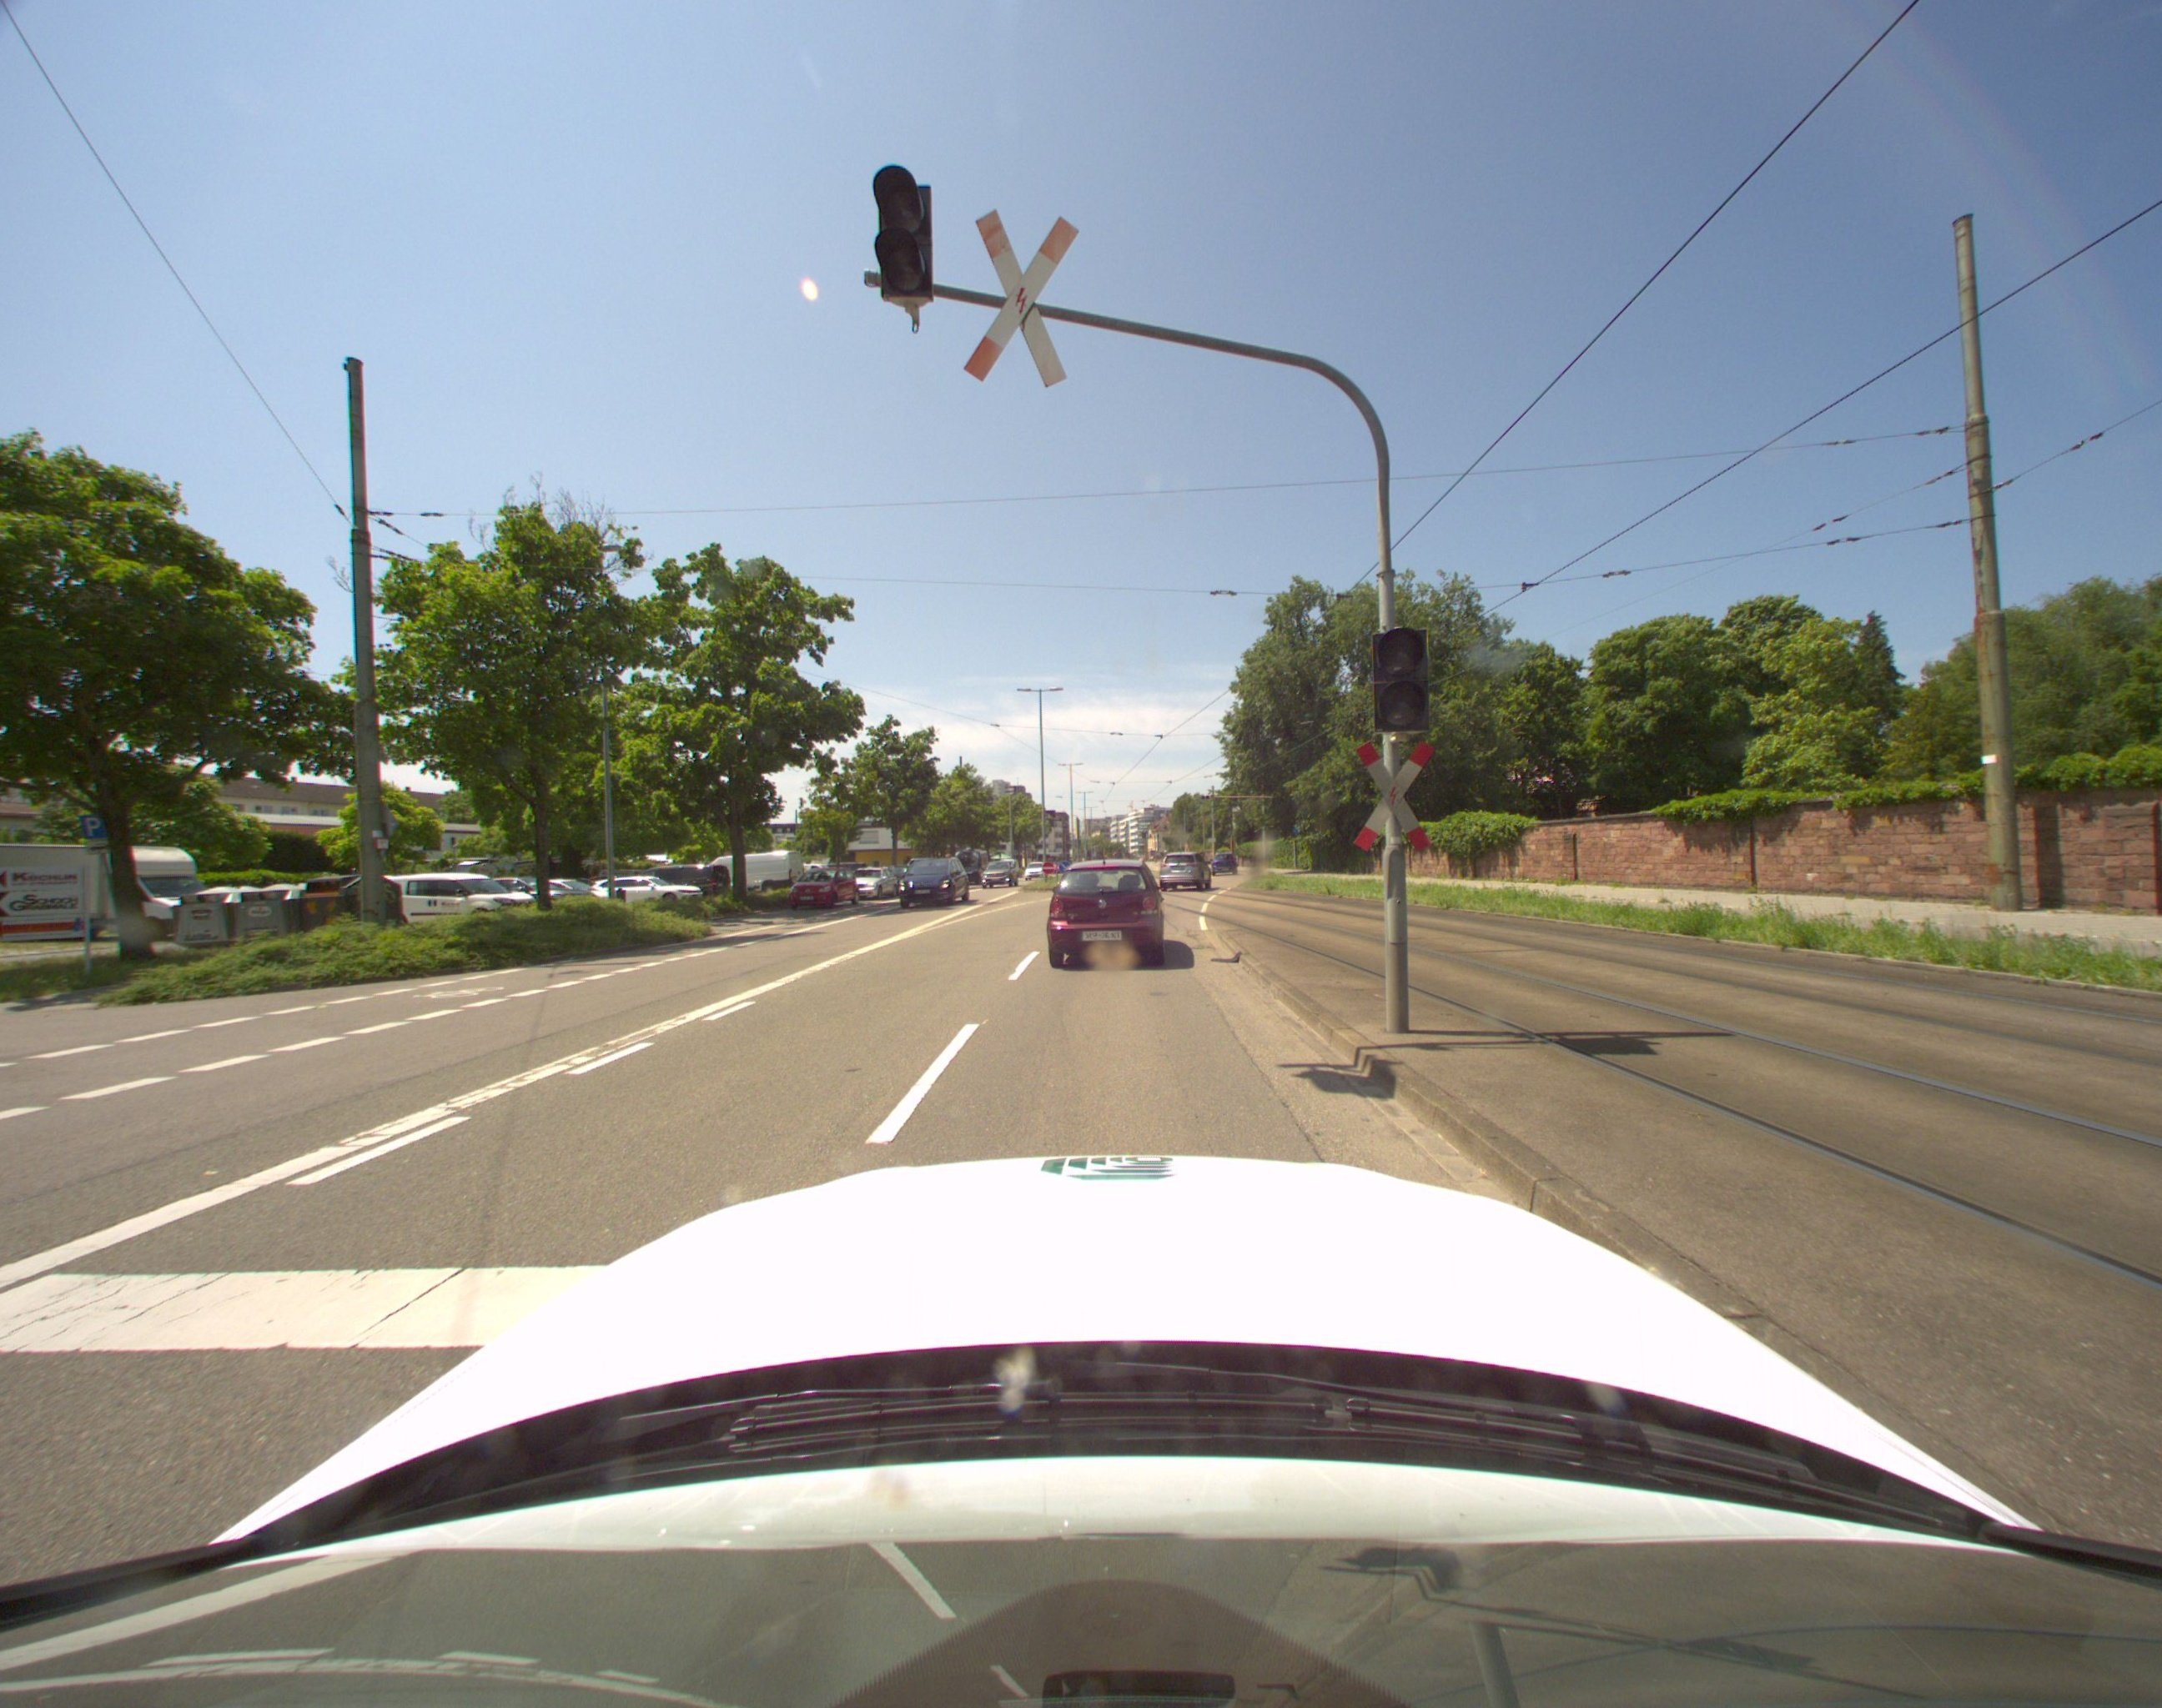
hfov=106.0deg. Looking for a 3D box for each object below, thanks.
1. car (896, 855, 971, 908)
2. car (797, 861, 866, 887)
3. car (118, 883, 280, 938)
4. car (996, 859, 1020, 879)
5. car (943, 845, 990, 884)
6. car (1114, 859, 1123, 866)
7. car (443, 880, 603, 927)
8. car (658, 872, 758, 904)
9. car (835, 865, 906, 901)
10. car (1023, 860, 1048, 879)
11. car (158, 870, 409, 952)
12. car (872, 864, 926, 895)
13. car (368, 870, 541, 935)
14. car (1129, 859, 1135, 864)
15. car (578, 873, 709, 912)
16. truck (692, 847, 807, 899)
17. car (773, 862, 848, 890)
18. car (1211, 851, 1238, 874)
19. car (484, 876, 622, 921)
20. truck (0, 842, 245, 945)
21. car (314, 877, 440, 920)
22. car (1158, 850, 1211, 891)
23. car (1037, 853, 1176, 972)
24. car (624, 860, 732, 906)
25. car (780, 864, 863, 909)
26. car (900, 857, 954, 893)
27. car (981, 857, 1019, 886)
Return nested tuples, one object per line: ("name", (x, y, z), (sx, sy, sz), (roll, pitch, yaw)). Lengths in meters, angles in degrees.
("car", (-5.134, 0.906, 28.819), (1.731, 1.657, 4.068), (-3, -1, 1))
("car", (-19.308, 1.550, 63.154), (4.703, 1.813, 1.796), (-2, 0, 0))
("car", (-32.227, 2.031, 29.832), (4.113, 1.820, 1.647), (-1, 0, 0))
("car", (-7.488, 1.492, 83.917), (1.868, 1.965, 5.166), (2, 0, 2))
("car", (-8.498, 0.748, 61.110), (2.389, 2.656, 6.175), (-2, 0, 2))
("car", (10.421, 2.410, 224.848), (1.914, 1.910, 4.566), (-2, 0, -3))
("car", (-19.854, 1.729, 29.138), (4.186, 1.403, 2.079), (-2, 0, -3))
("car", (-19.066, 1.741, 41.754), (4.196, 1.411, 1.856), (-2, 0, 0))
("car", (-9.438, 1.267, 36.890), (1.712, 1.427, 4.774), (-2, 0, 2))
("car", (-3.634, 1.256, 65.515), (1.642, 1.376, 3.812), (-4, -1, 2))
("car", (-20.663, 1.435, 21.263), (4.433, 1.857, 2.061), (-2, 0, 0))
("car", (-9.321, 1.273, 41.988), (1.607, 1.484, 3.788), (2, 0, 4))
("car", (-19.945, 1.512, 26.035), (4.248, 1.835, 1.675), (-2, 0, 3))
("car", (12.745, 1.956, 204.730), (1.348, 1.252, 2.973), (-1, 0, 2))
("car", (-19.772, 1.718, 36.981), (4.746, 1.488, 2.058), (-2, 0, 0))
("truck", (-19.251, 1.102, 47.480), (5.556, 2.759, 2.434), (-2, 0, 2))
("car", (-19.382, 1.583, 58.402), (4.703, 1.813, 1.796), (-2, 0, 0))
("car", (10.544, 0.636, 60.214), (1.764, 1.631, 4.008), (-1, 0, 7))
("car", (-20.514, 1.722, 31.756), (4.104, 1.508, 1.934), (-2, 0, 3))
("truck", (-32.906, 1.292, 27.513), (6.955, 3.227, 2.150), (-1, 0, -1))
("car", (-32.592, 2.033, 37.774), (4.113, 1.820, 1.971), (-1, -1, 0))
("car", (4.567, 0.690, 35.569), (1.782, 1.683, 4.015), (-1, 0, 14))
("car", (0.553, 0.777, 12.651), (1.600, 1.498, 4.010), (-3, -1, 9))
("car", (-19.460, 1.370, 39.444), (4.196, 1.995, 1.856), (-2, 0, 0))
("car", (-9.627, 1.176, 30.478), (1.664, 1.546, 3.730), (-1, -1, 4))
("car", (-8.905, 1.160, 47.592), (1.854, 1.937, 4.810), (2, 0, 4))
("car", (-4.701, 1.012, 47.670), (1.731, 1.575, 3.714), (-2, 0, 1))
